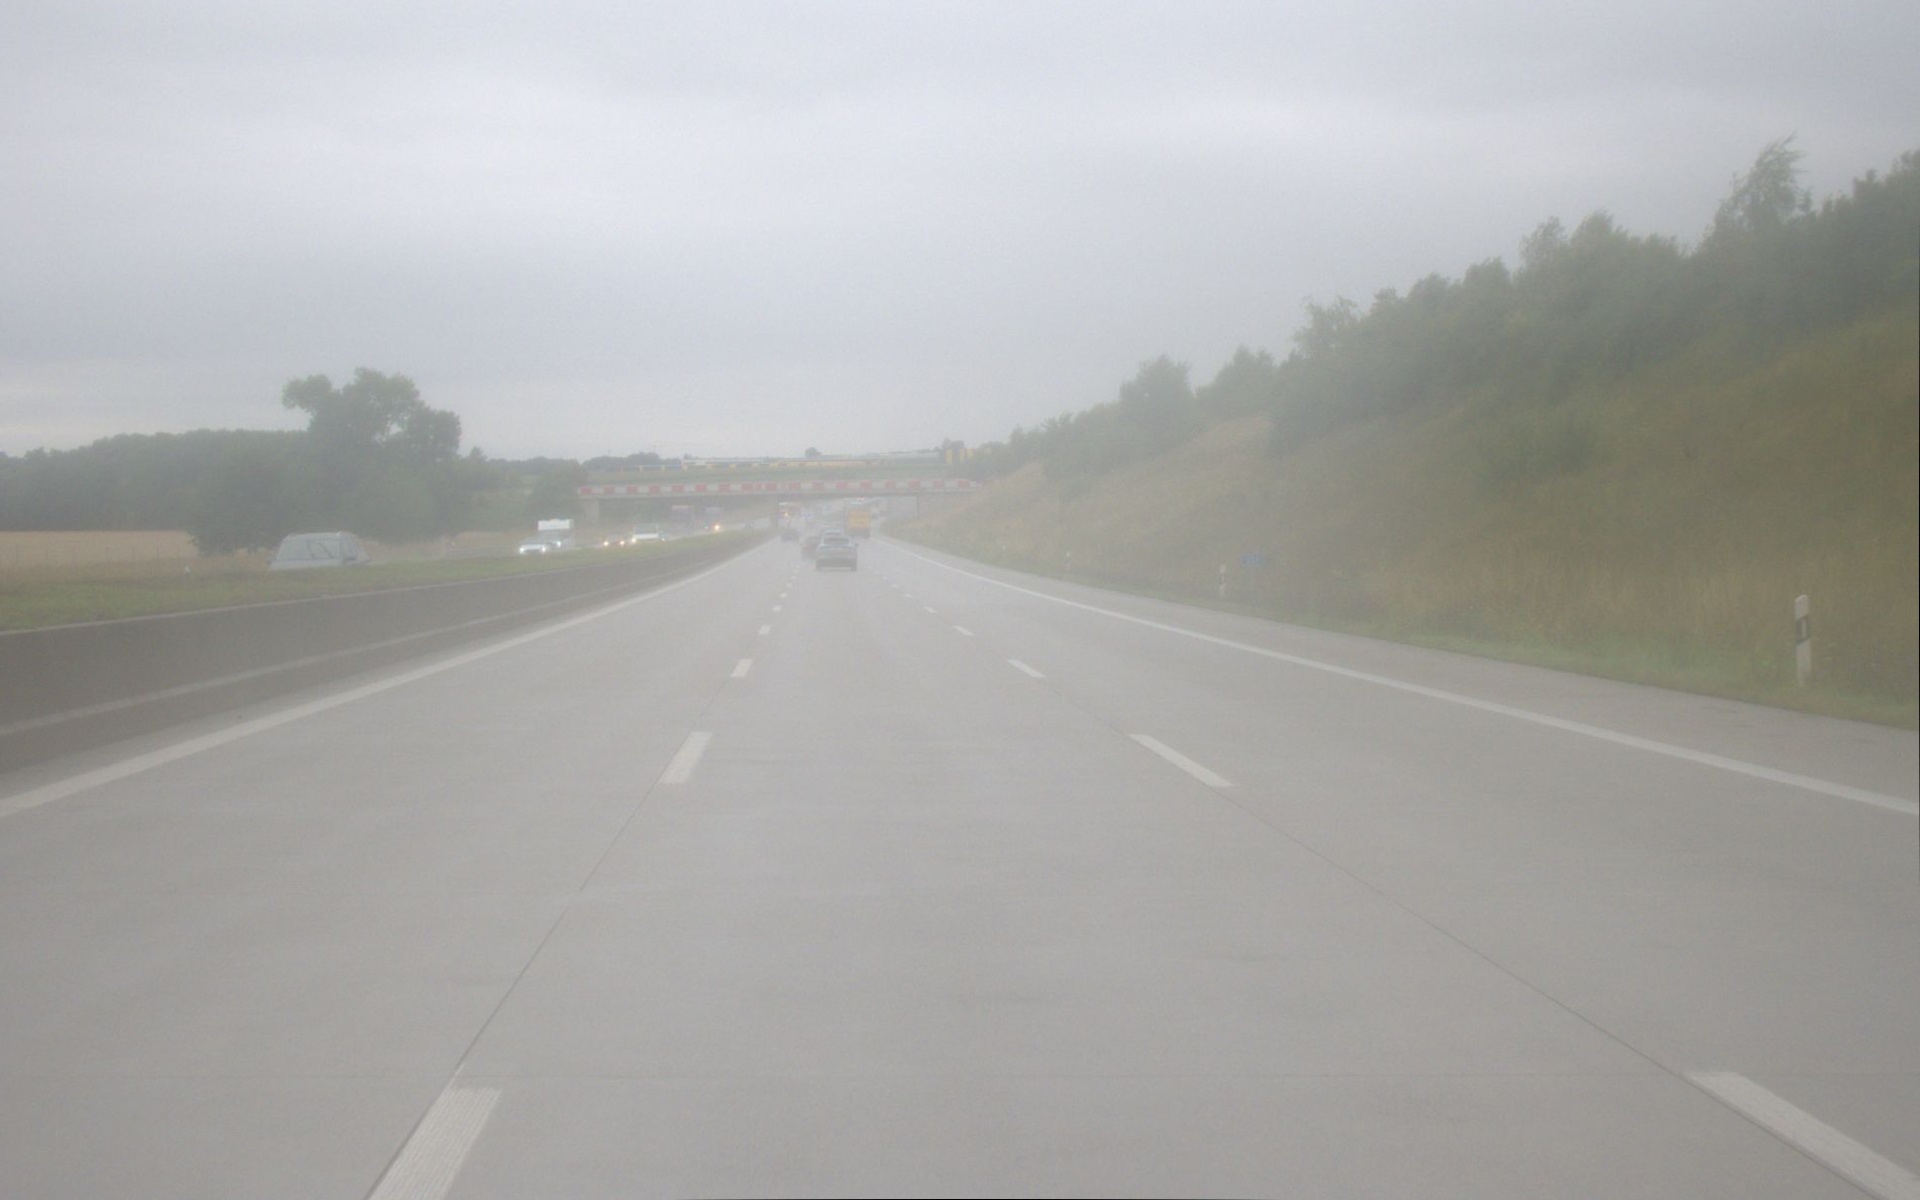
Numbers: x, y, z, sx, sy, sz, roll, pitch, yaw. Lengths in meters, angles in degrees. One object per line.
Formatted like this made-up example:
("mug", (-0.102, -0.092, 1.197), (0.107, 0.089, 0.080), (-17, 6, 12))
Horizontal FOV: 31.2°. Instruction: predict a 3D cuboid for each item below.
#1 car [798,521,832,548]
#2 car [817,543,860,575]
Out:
("car", (-7.985, -3.606, 189.286), (1.729, 1.326, 4.431), (0, 3, -4))
("car", (-5.524, -1.873, 156.202), (1.847, 1.326, 4.431), (0, 3, -3))
